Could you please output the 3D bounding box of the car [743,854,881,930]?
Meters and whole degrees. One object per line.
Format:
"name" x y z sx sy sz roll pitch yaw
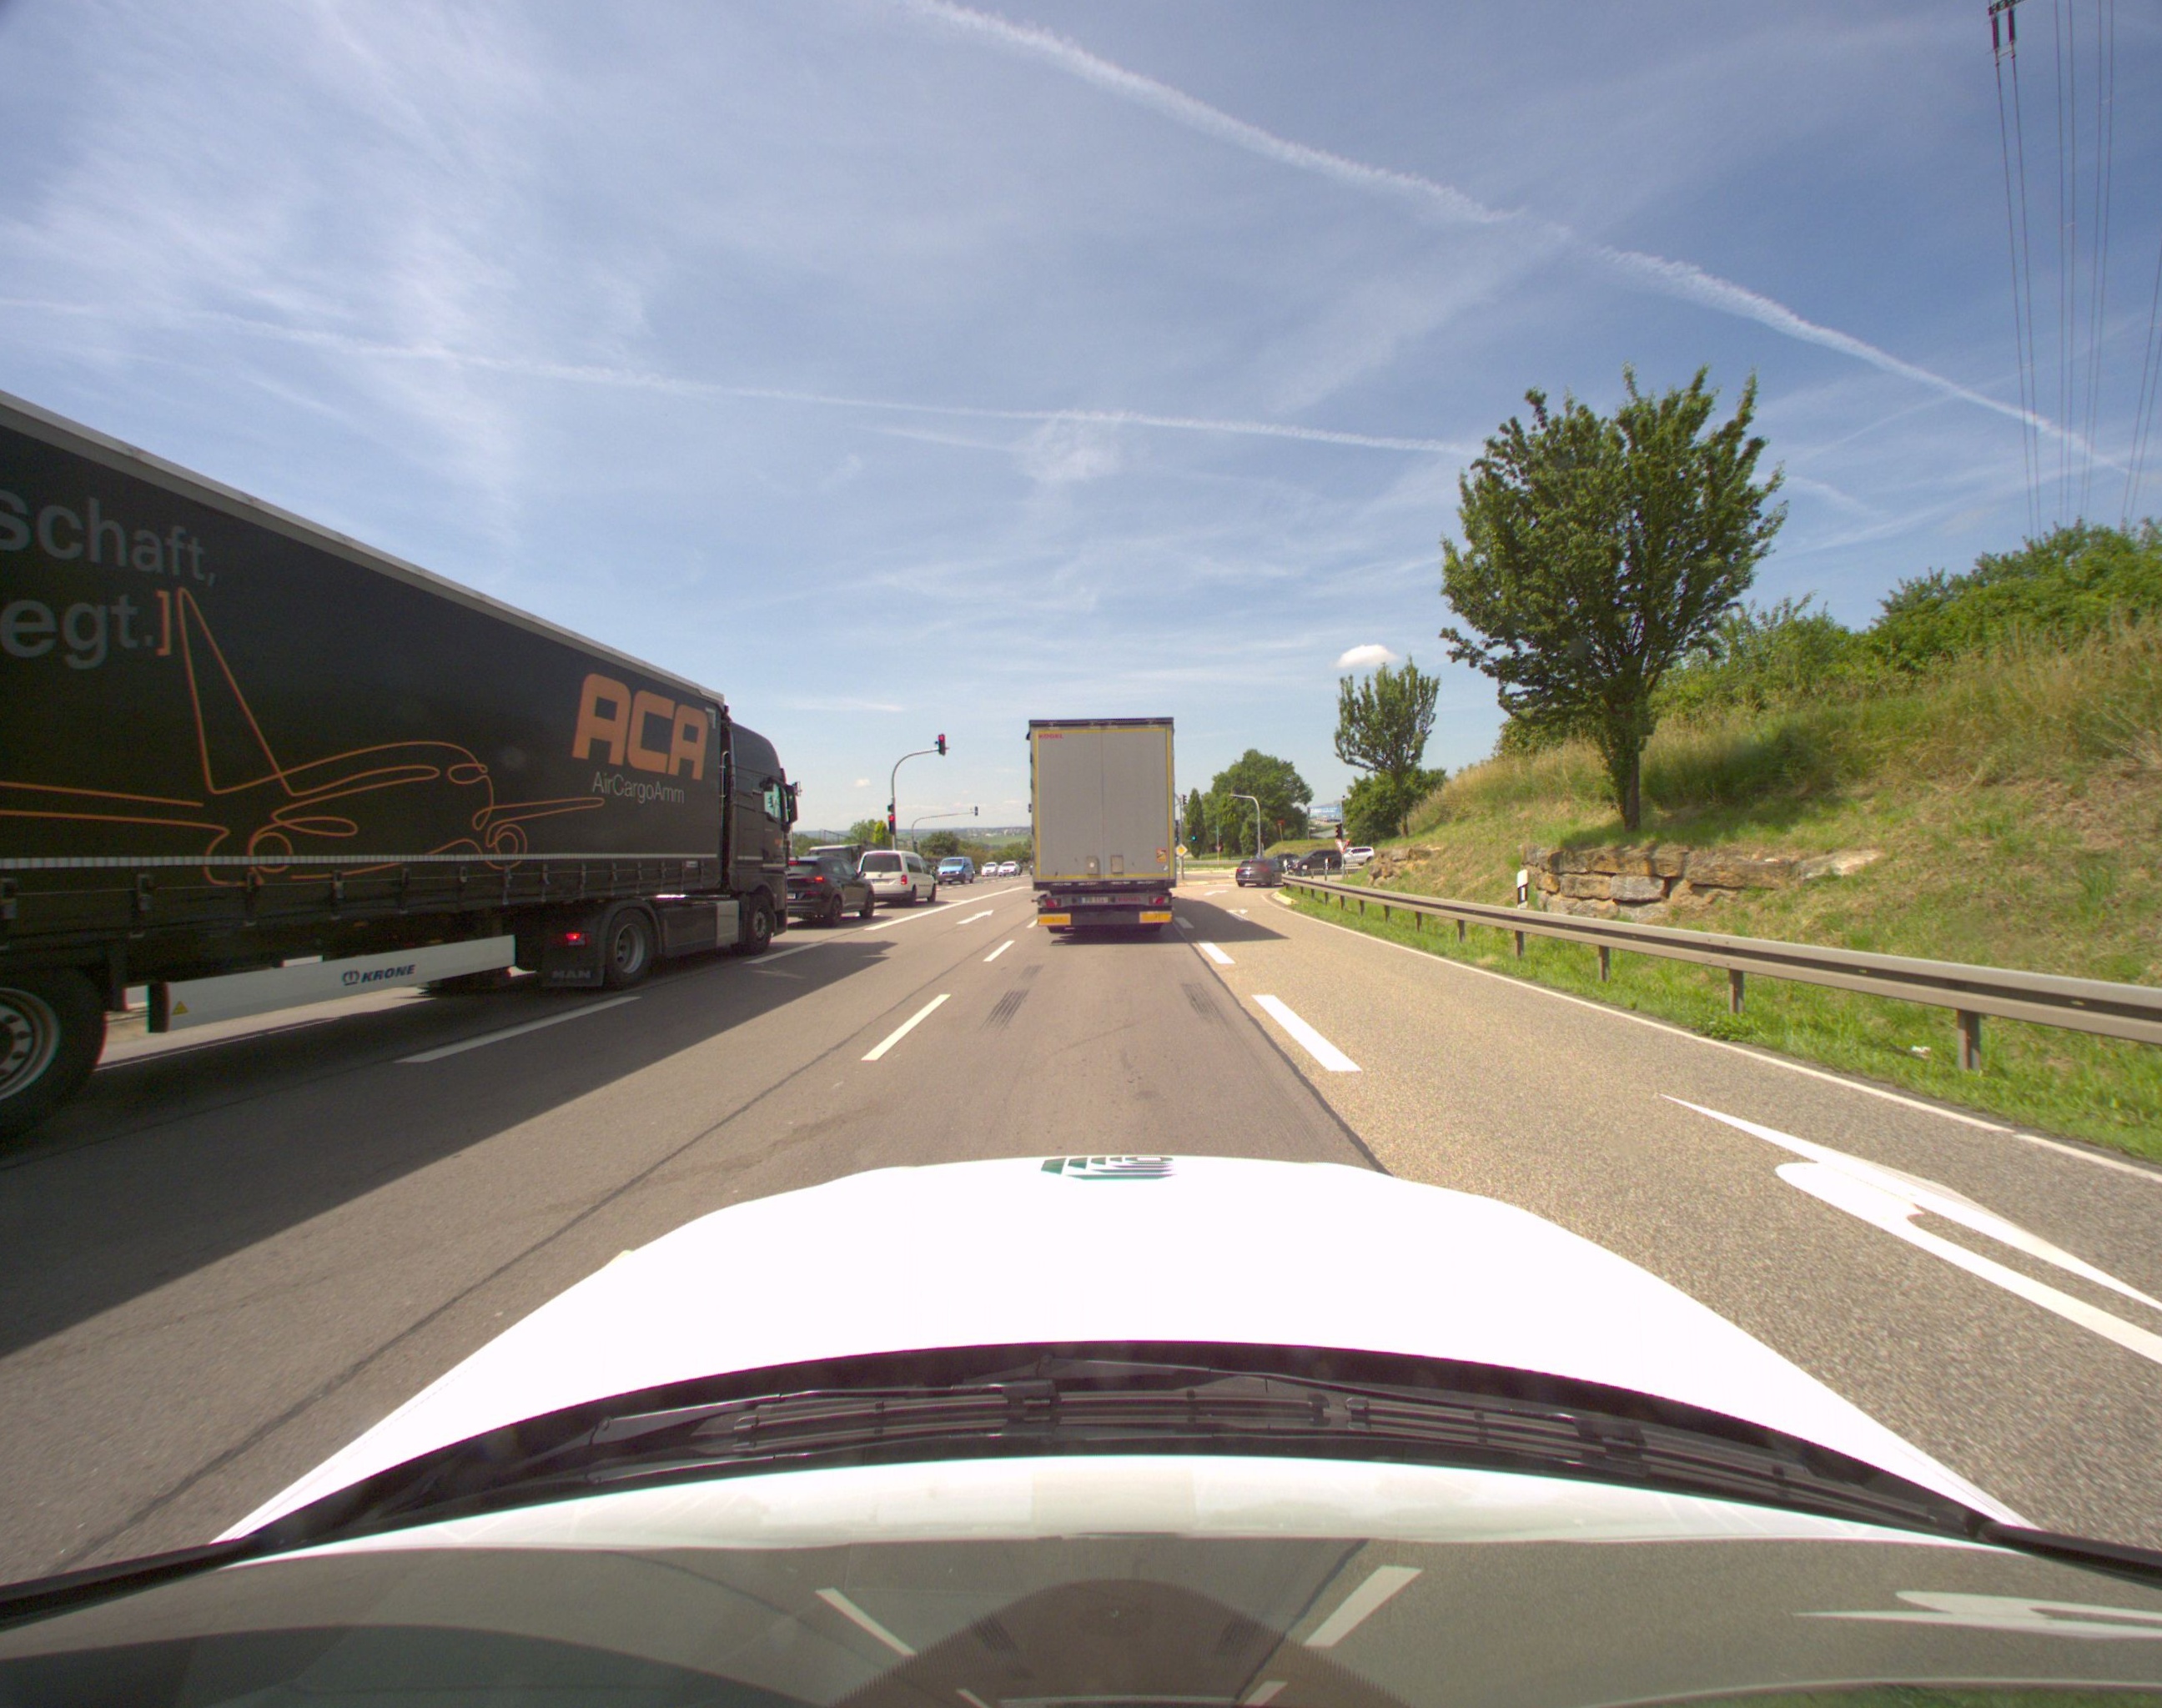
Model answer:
"car" -6.447 0.840 20.055 1.849 1.657 4.349 -1 0 1

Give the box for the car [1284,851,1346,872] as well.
"car" 18.416 0.556 64.126 4.356 1.510 1.711 -2 -1 -9

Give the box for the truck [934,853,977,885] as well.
"truck" -9.056 1.071 59.083 1.957 2.157 4.630 -2 -1 5

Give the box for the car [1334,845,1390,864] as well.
"car" 24.857 0.045 72.066 4.353 1.592 1.776 -2 -1 -7

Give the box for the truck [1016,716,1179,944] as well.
"truck" 0.400 -0.376 19.793 2.789 3.930 11.343 -1 -1 1

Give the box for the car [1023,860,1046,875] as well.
"car" -4.697 1.375 82.220 1.747 1.469 4.200 1 -1 4

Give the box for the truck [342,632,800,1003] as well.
"truck" -6.601 -0.376 11.866 2.773 4.013 5.973 -1 -1 2

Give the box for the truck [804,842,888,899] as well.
"truck" -13.643 0.953 47.819 2.788 3.014 5.994 -2 -1 3

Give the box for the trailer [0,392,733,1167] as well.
"trailer" -6.804 -0.358 5.296 2.773 3.913 13.791 -1 -1 2

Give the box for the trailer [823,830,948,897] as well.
"trailer" -12.996 0.697 57.280 2.627 3.763 19.819 -2 -1 4

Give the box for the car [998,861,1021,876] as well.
"car" -7.246 1.498 83.214 1.765 1.434 4.002 -2 -1 2

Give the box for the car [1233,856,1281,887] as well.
"car" 9.249 0.892 42.509 1.731 1.532 4.321 -1 -1 22

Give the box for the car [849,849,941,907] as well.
"car" -6.241 0.765 27.916 1.760 1.798 4.757 -1 0 4

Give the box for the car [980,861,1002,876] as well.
"car" -10.027 1.614 90.860 1.636 1.497 3.806 -3 -1 4
